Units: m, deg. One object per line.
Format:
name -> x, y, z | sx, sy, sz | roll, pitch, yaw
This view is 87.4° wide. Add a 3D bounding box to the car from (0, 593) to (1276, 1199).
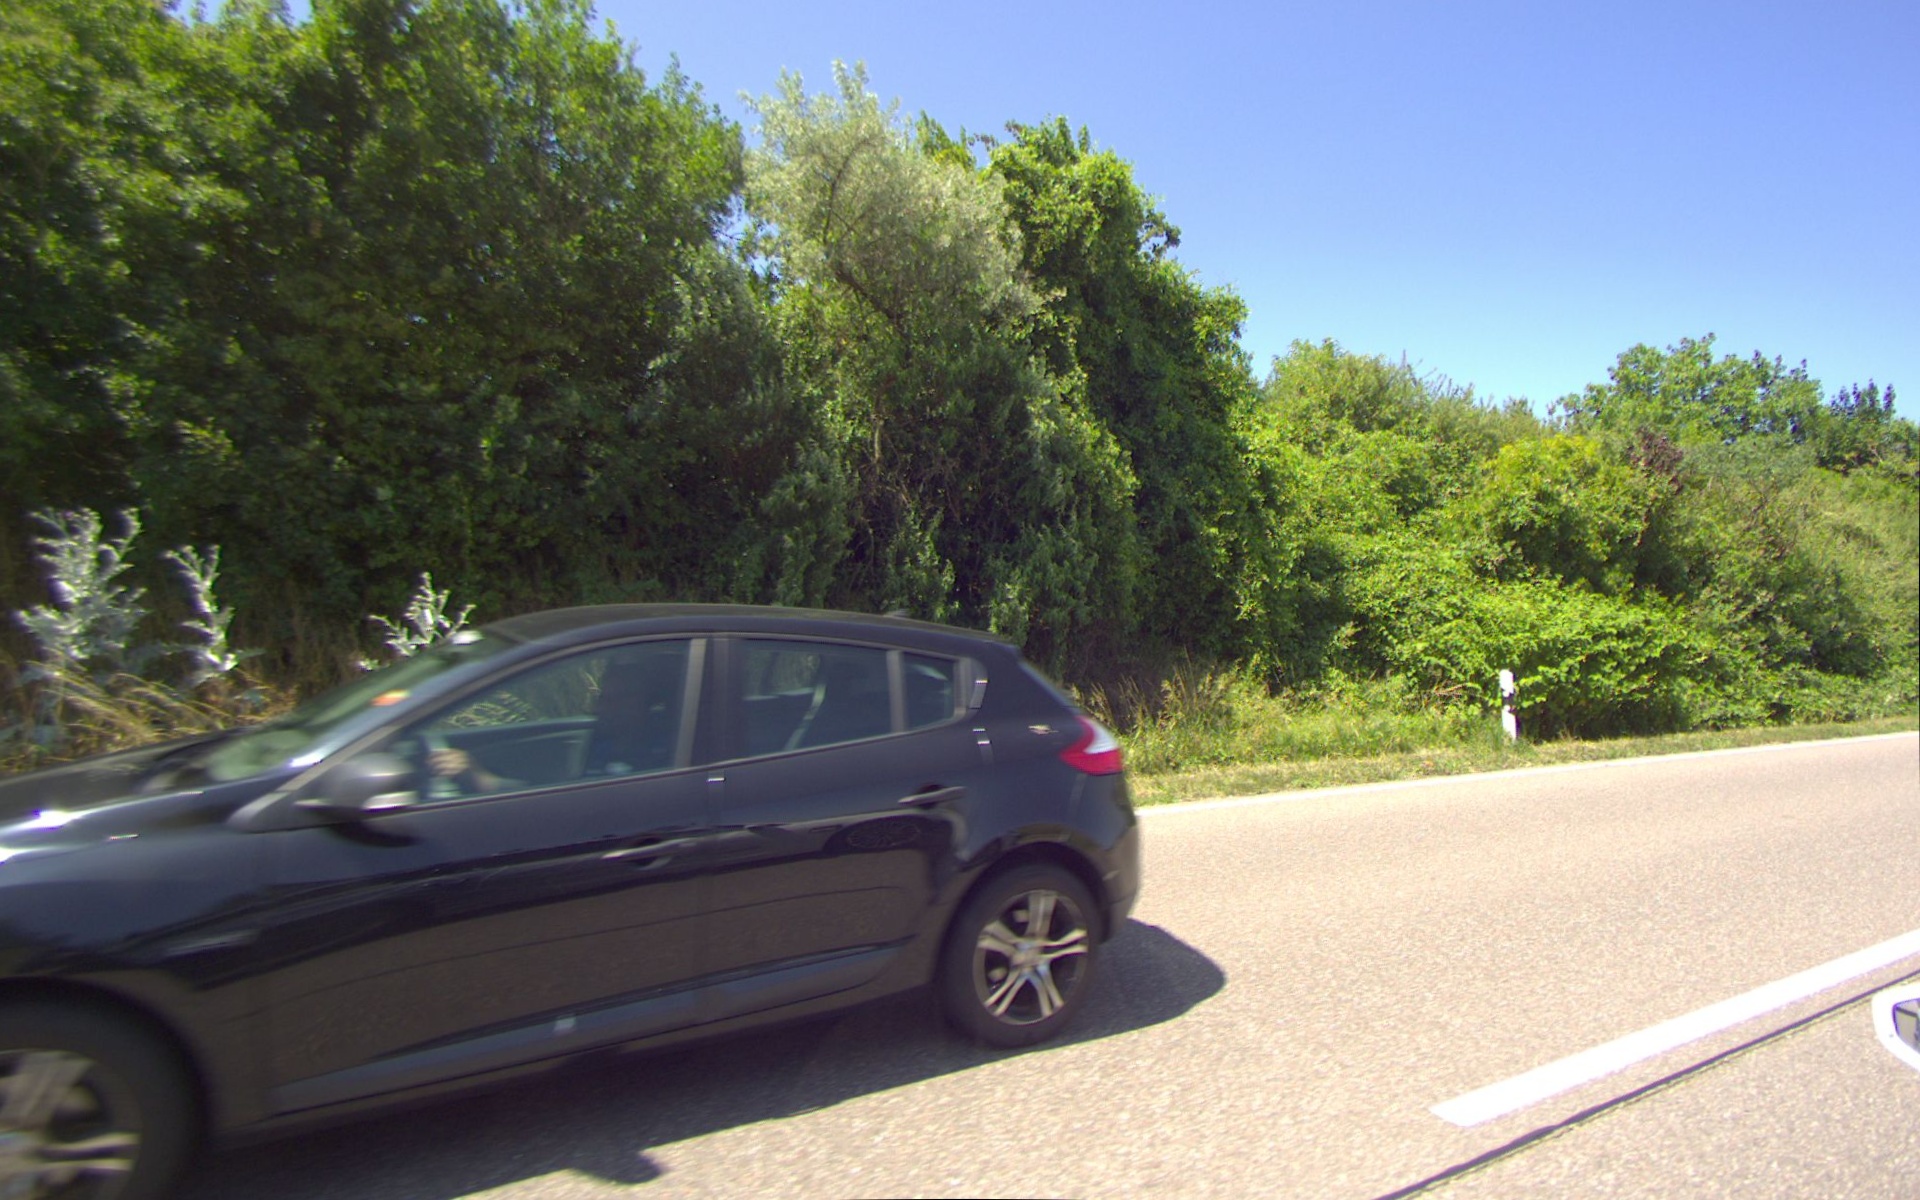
car -> -0.936, 0.746, 3.557 | 3.952, 1.448, 1.699 | 1, 0, -30
